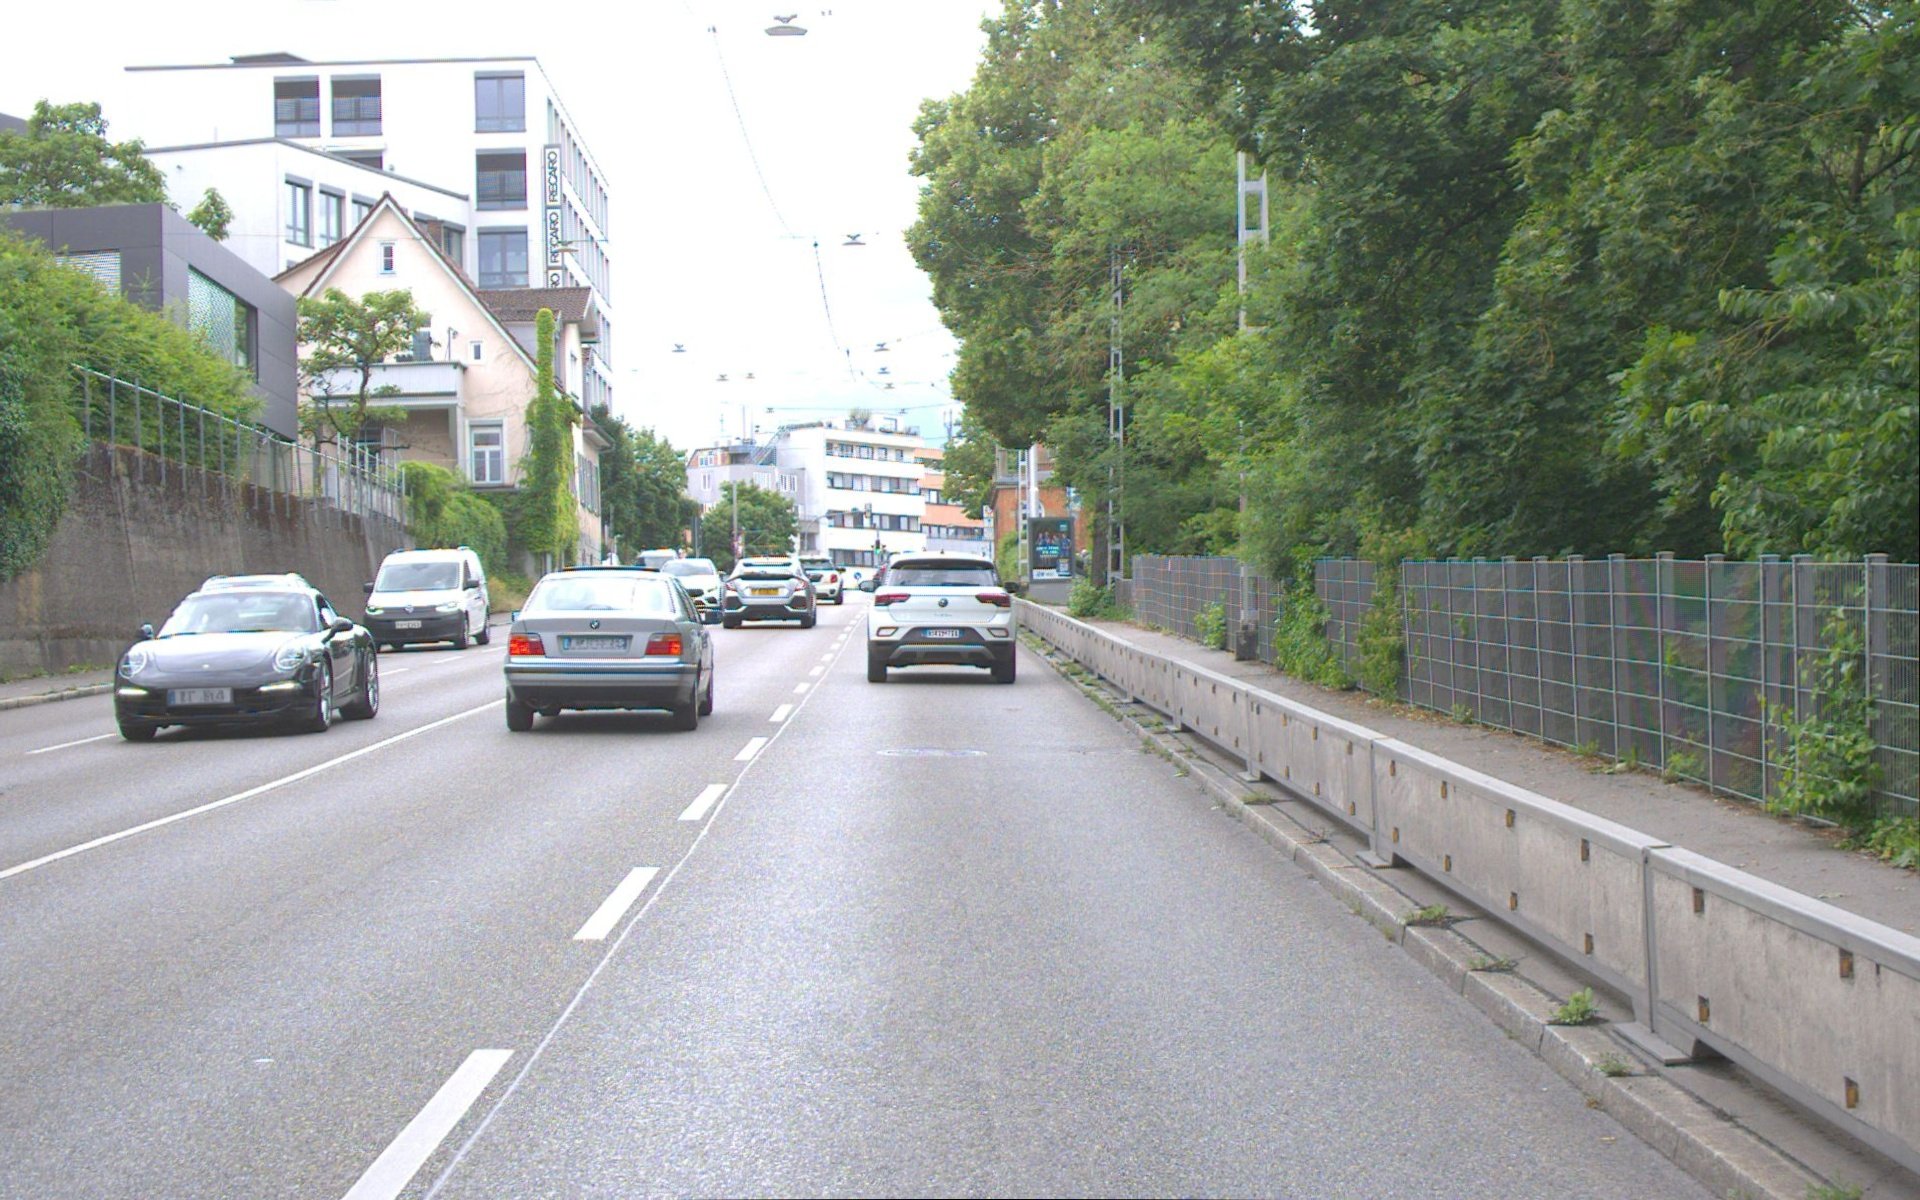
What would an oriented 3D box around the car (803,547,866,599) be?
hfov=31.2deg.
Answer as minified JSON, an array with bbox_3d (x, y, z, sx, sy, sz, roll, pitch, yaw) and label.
[{"bbox_3d":[-3.631,-0.801,100.101,1.706,1.459,4.000,-1,1,-1],"label":"car"}]

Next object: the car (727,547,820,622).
[{"bbox_3d":[-3.764,-0.329,69.874,1.706,1.459,4.000,-1,1,-1],"label":"car"}]

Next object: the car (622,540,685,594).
[{"bbox_3d":[-10.516,-1.146,118.143,1.816,1.778,4.495,-1,1,-1],"label":"car"}]

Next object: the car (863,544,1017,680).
[{"bbox_3d":[-0.288,0.113,41.971,1.780,1.573,4.000,0,1,-2],"label":"car"}]

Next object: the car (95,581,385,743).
[{"bbox_3d":[-6.427,0.512,31.093,1.753,1.264,4.192,-2,1,-1],"label":"car"}]

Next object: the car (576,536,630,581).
[{"bbox_3d":[-13.977,-1.622,134.643,1.993,1.695,4.001,-1,1,-5],"label":"car"}]

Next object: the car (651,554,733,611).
[{"bbox_3d":[-7.110,-0.477,91.609,1.815,1.382,4.463,-3,1,-1],"label":"car"}]

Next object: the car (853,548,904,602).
[{"bbox_3d":[-2.725,-0.852,115.132,1.656,1.759,3.287,0,1,0],"label":"car"}]

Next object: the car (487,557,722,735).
[{"bbox_3d":[-3.070,0.356,30.350,1.706,1.459,4.000,0,1,-1],"label":"car"}]

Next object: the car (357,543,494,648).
[{"bbox_3d":[-9.682,-0.115,62.567,1.732,1.782,4.867,-2,1,-1],"label":"car"}]
